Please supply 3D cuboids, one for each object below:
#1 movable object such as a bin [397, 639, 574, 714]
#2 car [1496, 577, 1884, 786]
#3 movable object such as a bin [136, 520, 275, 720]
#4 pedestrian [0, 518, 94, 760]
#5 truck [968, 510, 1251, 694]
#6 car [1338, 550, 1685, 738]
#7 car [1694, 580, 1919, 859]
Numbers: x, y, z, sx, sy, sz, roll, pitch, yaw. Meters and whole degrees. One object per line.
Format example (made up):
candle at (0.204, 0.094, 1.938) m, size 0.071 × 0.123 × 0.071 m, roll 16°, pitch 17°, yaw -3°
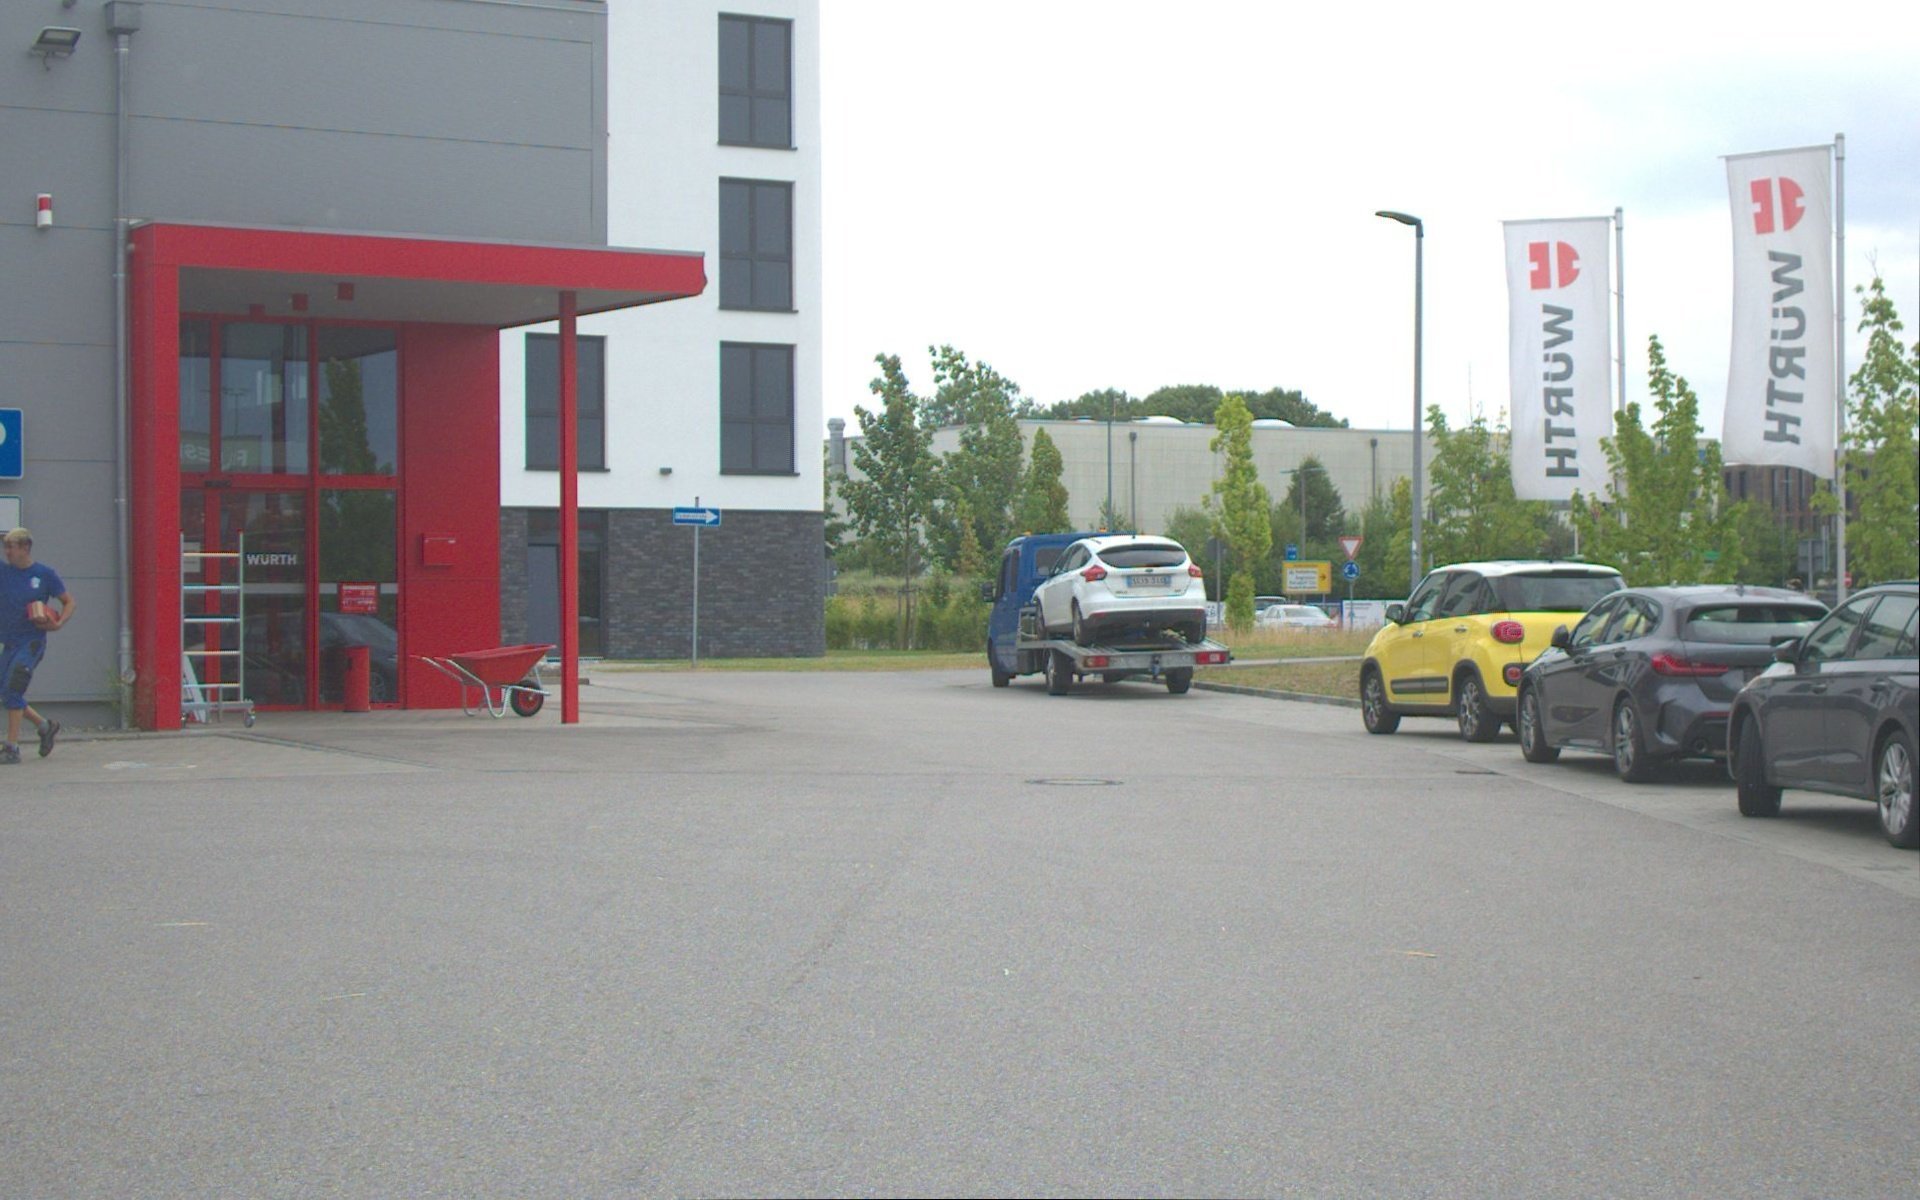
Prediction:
movable object such as a bin at (-4.645, 0.744, 33.632) m, size 1.488 × 0.701 × 0.965 m, roll 1°, pitch 0°, yaw -25°
car at (5.465, 0.559, 26.259) m, size 1.751 × 1.464 × 4.108 m, roll 0°, pitch 0°, yaw -5°
movable object such as a bin at (-6.549, 0.162, 29.832) m, size 0.910 × 1.666 × 0.743 m, roll -4°, pitch 2°, yaw -31°
pedestrian at (-7.080, 0.285, 25.958) m, size 0.677 × 1.796 × 0.879 m, roll 0°, pitch 0°, yaw 18°
truck at (1.985, 0.019, 49.124) m, size 2.331 × 2.398 × 7.898 m, roll -1°, pitch 0°, yaw -10°
car at (5.163, 0.403, 32.715) m, size 1.856 × 1.644 × 4.001 m, roll 1°, pitch 0°, yaw -13°
car at (5.795, 0.627, 19.936) m, size 1.751 × 1.464 × 4.477 m, roll 0°, pitch 0°, yaw -5°
